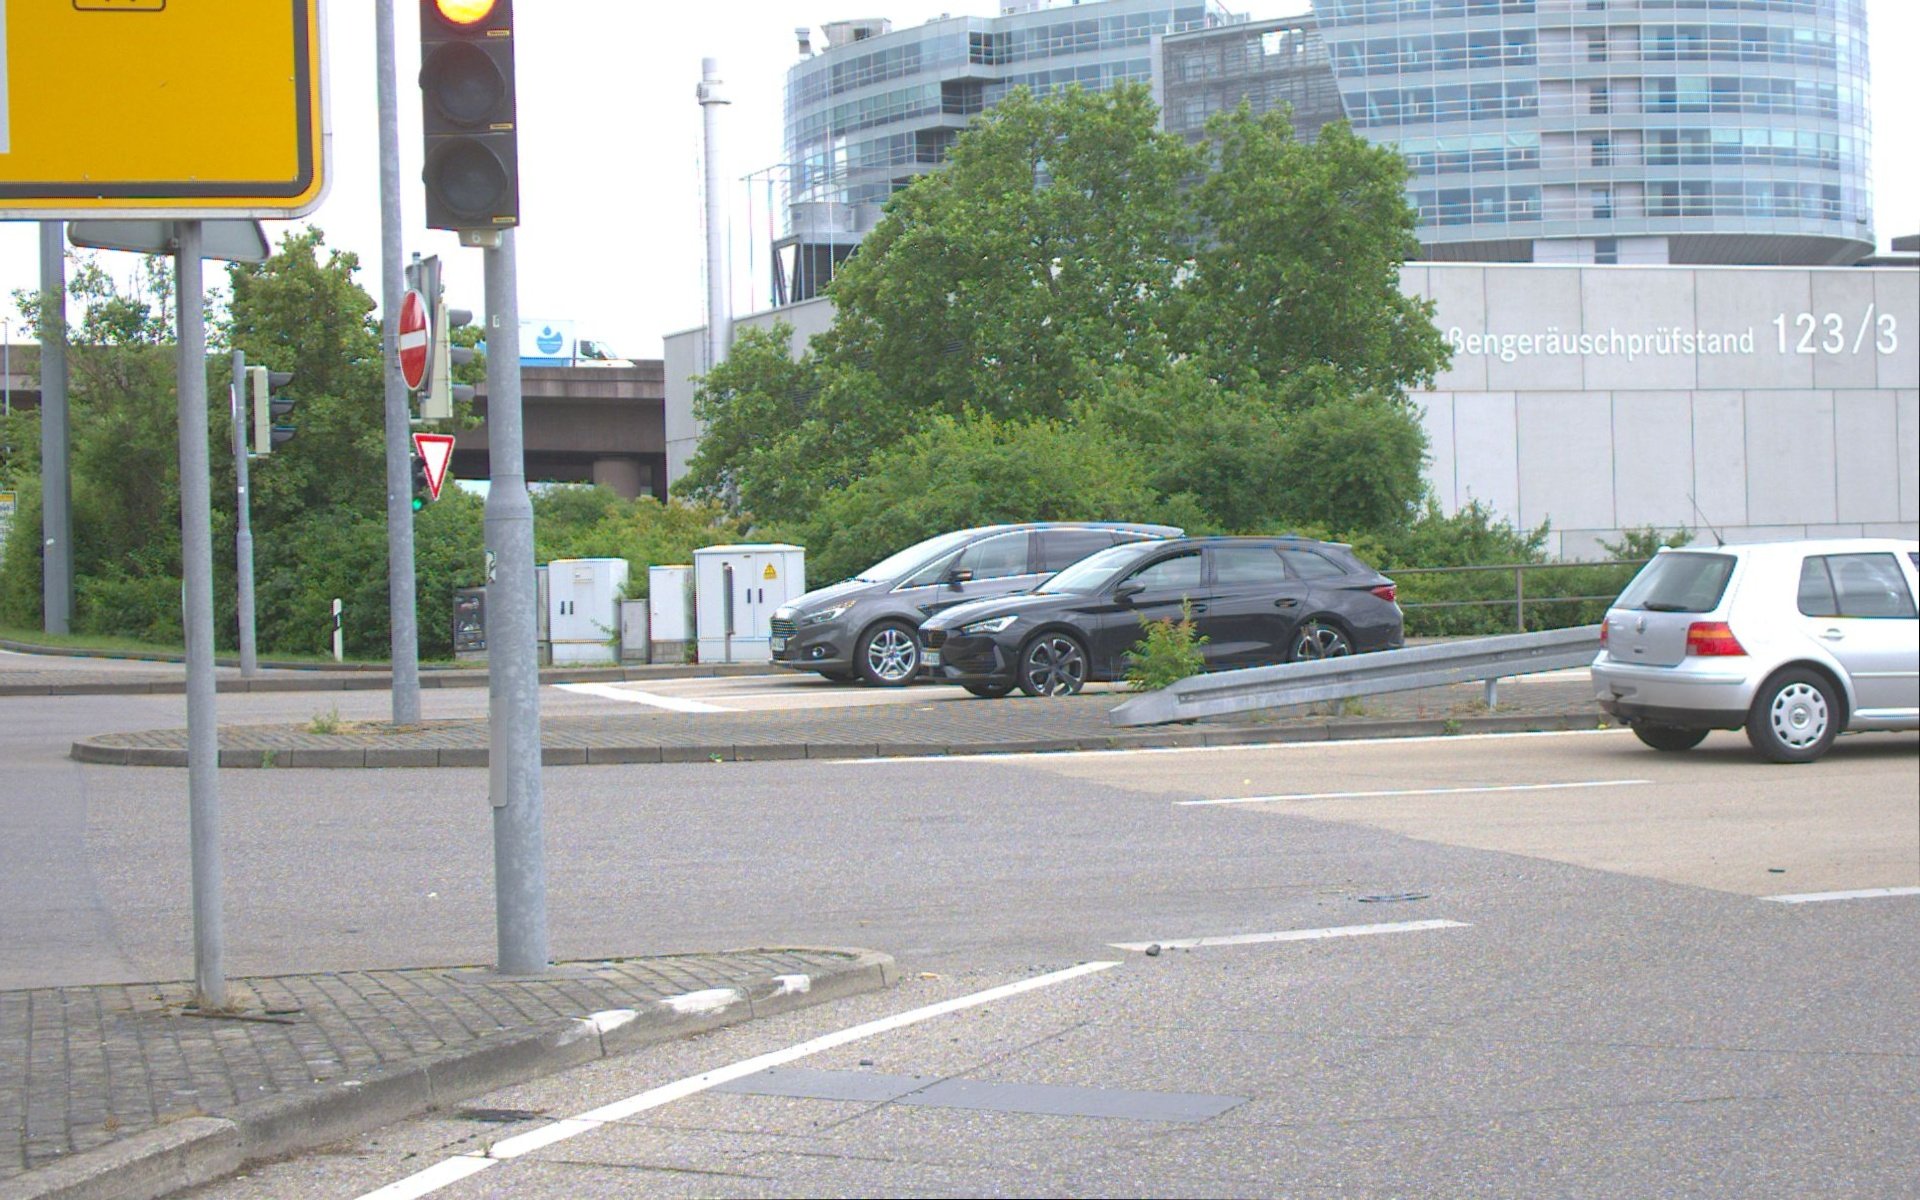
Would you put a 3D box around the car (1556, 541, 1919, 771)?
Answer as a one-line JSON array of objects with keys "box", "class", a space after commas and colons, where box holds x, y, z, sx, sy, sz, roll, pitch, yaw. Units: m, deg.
[{"box": [6.222, 0.320, 23.031, 4.052, 1.396, 1.730, -1, 1, -18], "class": "car"}]

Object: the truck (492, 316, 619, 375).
[{"box": [-17.184, -10.815, 146.177, 5.061, 2.314, 2.000, 1, 1, 5], "class": "truck"}]

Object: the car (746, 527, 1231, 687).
[{"box": [0.279, 0.036, 35.881, 4.677, 1.566, 1.956, 0, 2, -19], "class": "car"}]

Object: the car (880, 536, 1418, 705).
[{"box": [1.755, 0.147, 32.067, 4.604, 1.452, 1.956, -1, 2, -21], "class": "car"}]
